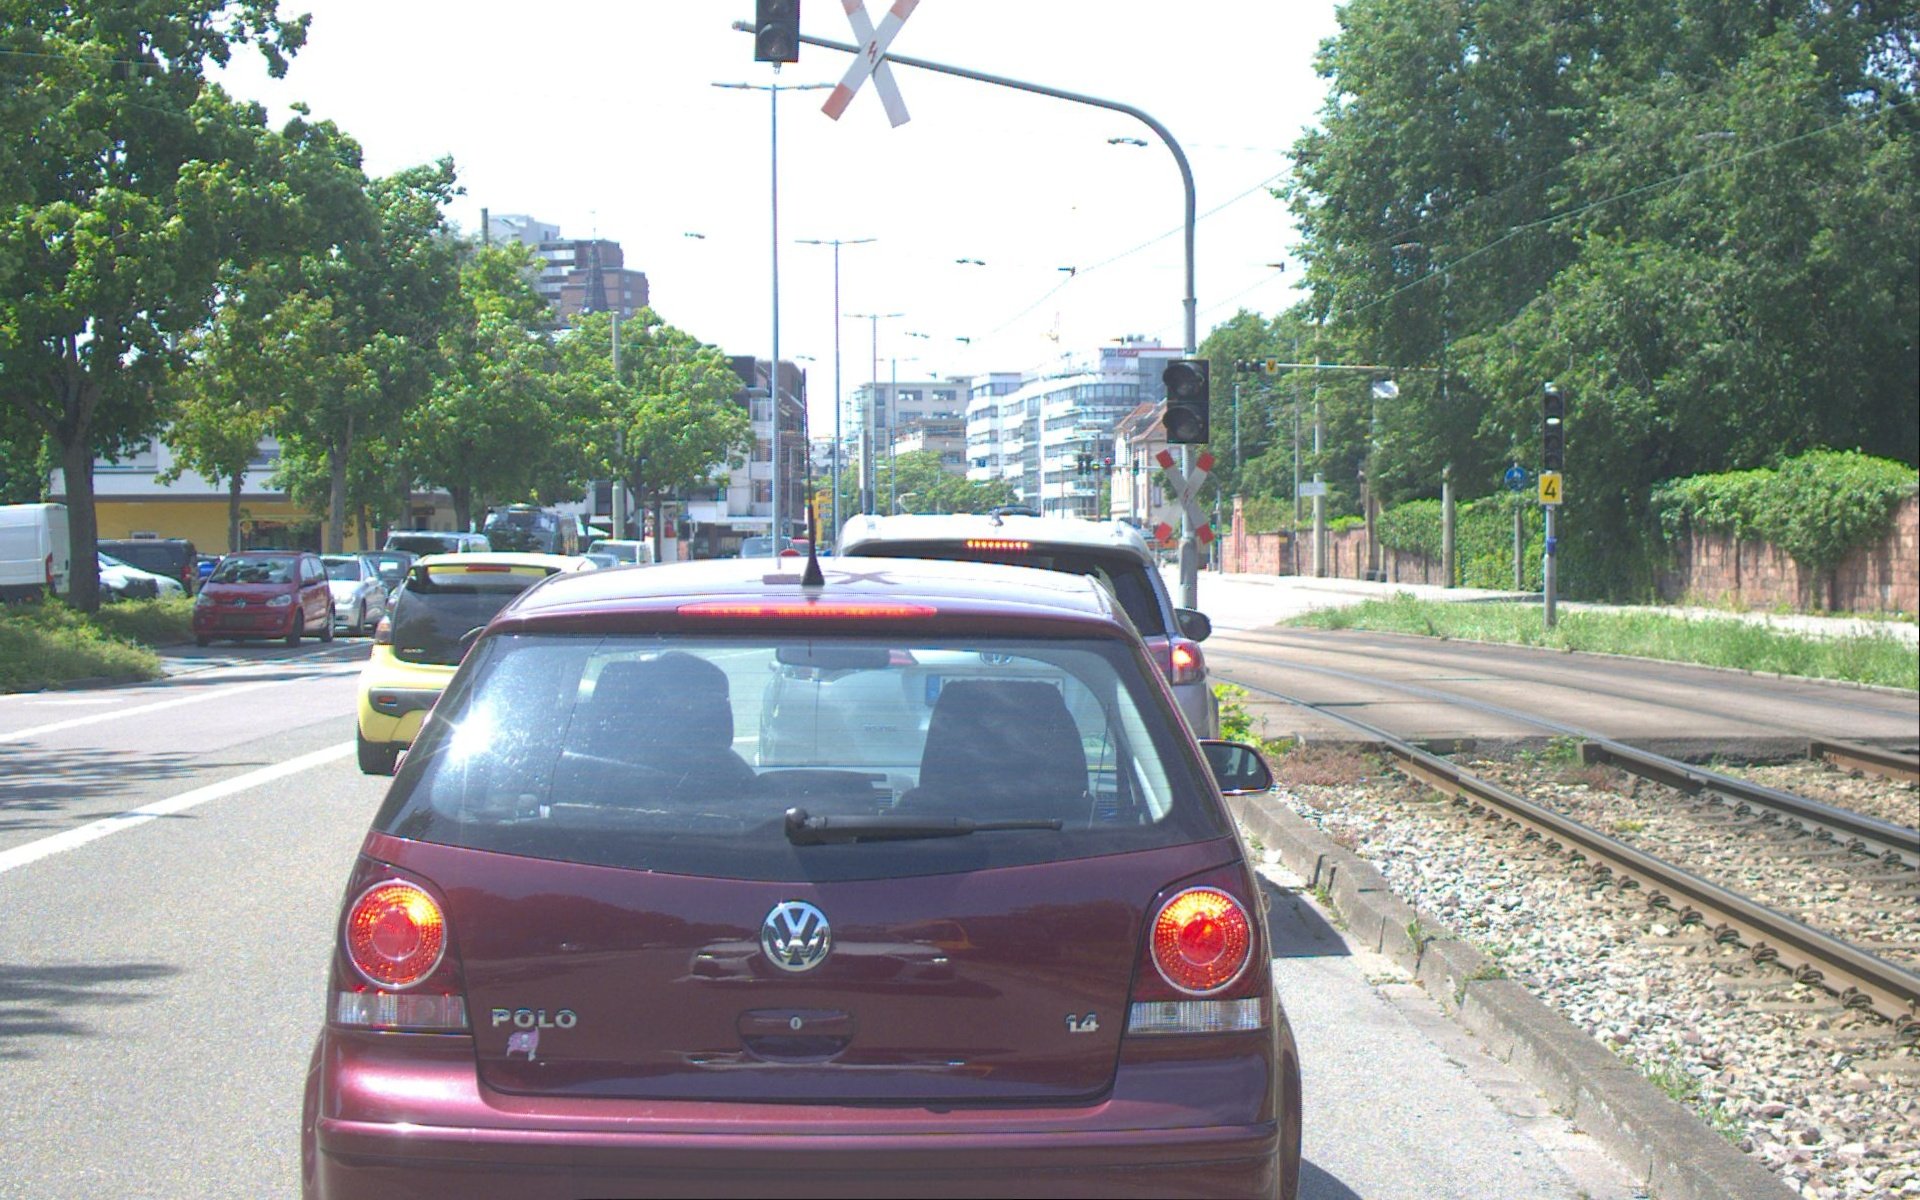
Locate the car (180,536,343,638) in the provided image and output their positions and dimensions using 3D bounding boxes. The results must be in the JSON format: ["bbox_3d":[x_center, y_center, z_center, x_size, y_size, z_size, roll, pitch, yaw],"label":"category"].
[{"bbox_3d":[-10.973,-0.217,54.223,1.672,1.541,3.726,1,1,2],"label":"car"}]

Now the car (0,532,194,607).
[{"bbox_3d":[-21.777,-0.764,86.237,4.718,1.807,1.797,-1,1,-1],"label":"car"}]

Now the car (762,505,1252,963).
[{"bbox_3d":[0.150,0.460,14.746,1.795,1.677,4.000,1,1,-1],"label":"car"}]

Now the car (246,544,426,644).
[{"bbox_3d":[-11.010,-0.141,61.016,1.719,1.422,4.770,-7,1,6],"label":"car"}]

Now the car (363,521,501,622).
[{"bbox_3d":[-10.891,-0.604,71.232,1.863,1.930,4.805,3,1,2],"label":"car"}]

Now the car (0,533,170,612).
[{"bbox_3d":[-21.361,-0.665,81.776,4.718,1.807,1.797,-1,1,-1],"label":"car"}]

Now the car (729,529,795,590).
[{"bbox_3d":[-6.429,-1.337,111.982,1.918,1.904,4.571,-2,1,-1],"label":"car"}]

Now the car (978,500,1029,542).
[{"bbox_3d":[2.004,-3.677,160.170,1.918,1.904,4.572,-1,1,-5],"label":"car"}]

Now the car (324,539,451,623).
[{"bbox_3d":[-10.967,-0.384,66.020,1.614,1.479,3.784,3,1,2],"label":"car"}]

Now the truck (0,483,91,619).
[{"bbox_3d":[-21.100,-1.002,71.130,5.578,2.750,2.432,-1,1,1],"label":"truck"}]

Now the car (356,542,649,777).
[{"bbox_3d":[-3.020,0.347,23.230,1.551,1.443,3.412,1,1,-1],"label":"car"}]

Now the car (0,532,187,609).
[{"bbox_3d":[-21.422,-0.727,83.925,4.718,1.807,1.797,-1,1,-1],"label":"car"}]

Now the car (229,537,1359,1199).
[{"bbox_3d":[-0.265,0.633,6.935,1.609,1.493,4.000,1,1,-1],"label":"car"}]

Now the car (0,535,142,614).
[{"bbox_3d":[-21.190,-0.581,79.278,4.209,1.759,1.857,-1,1,-1],"label":"car"}]
